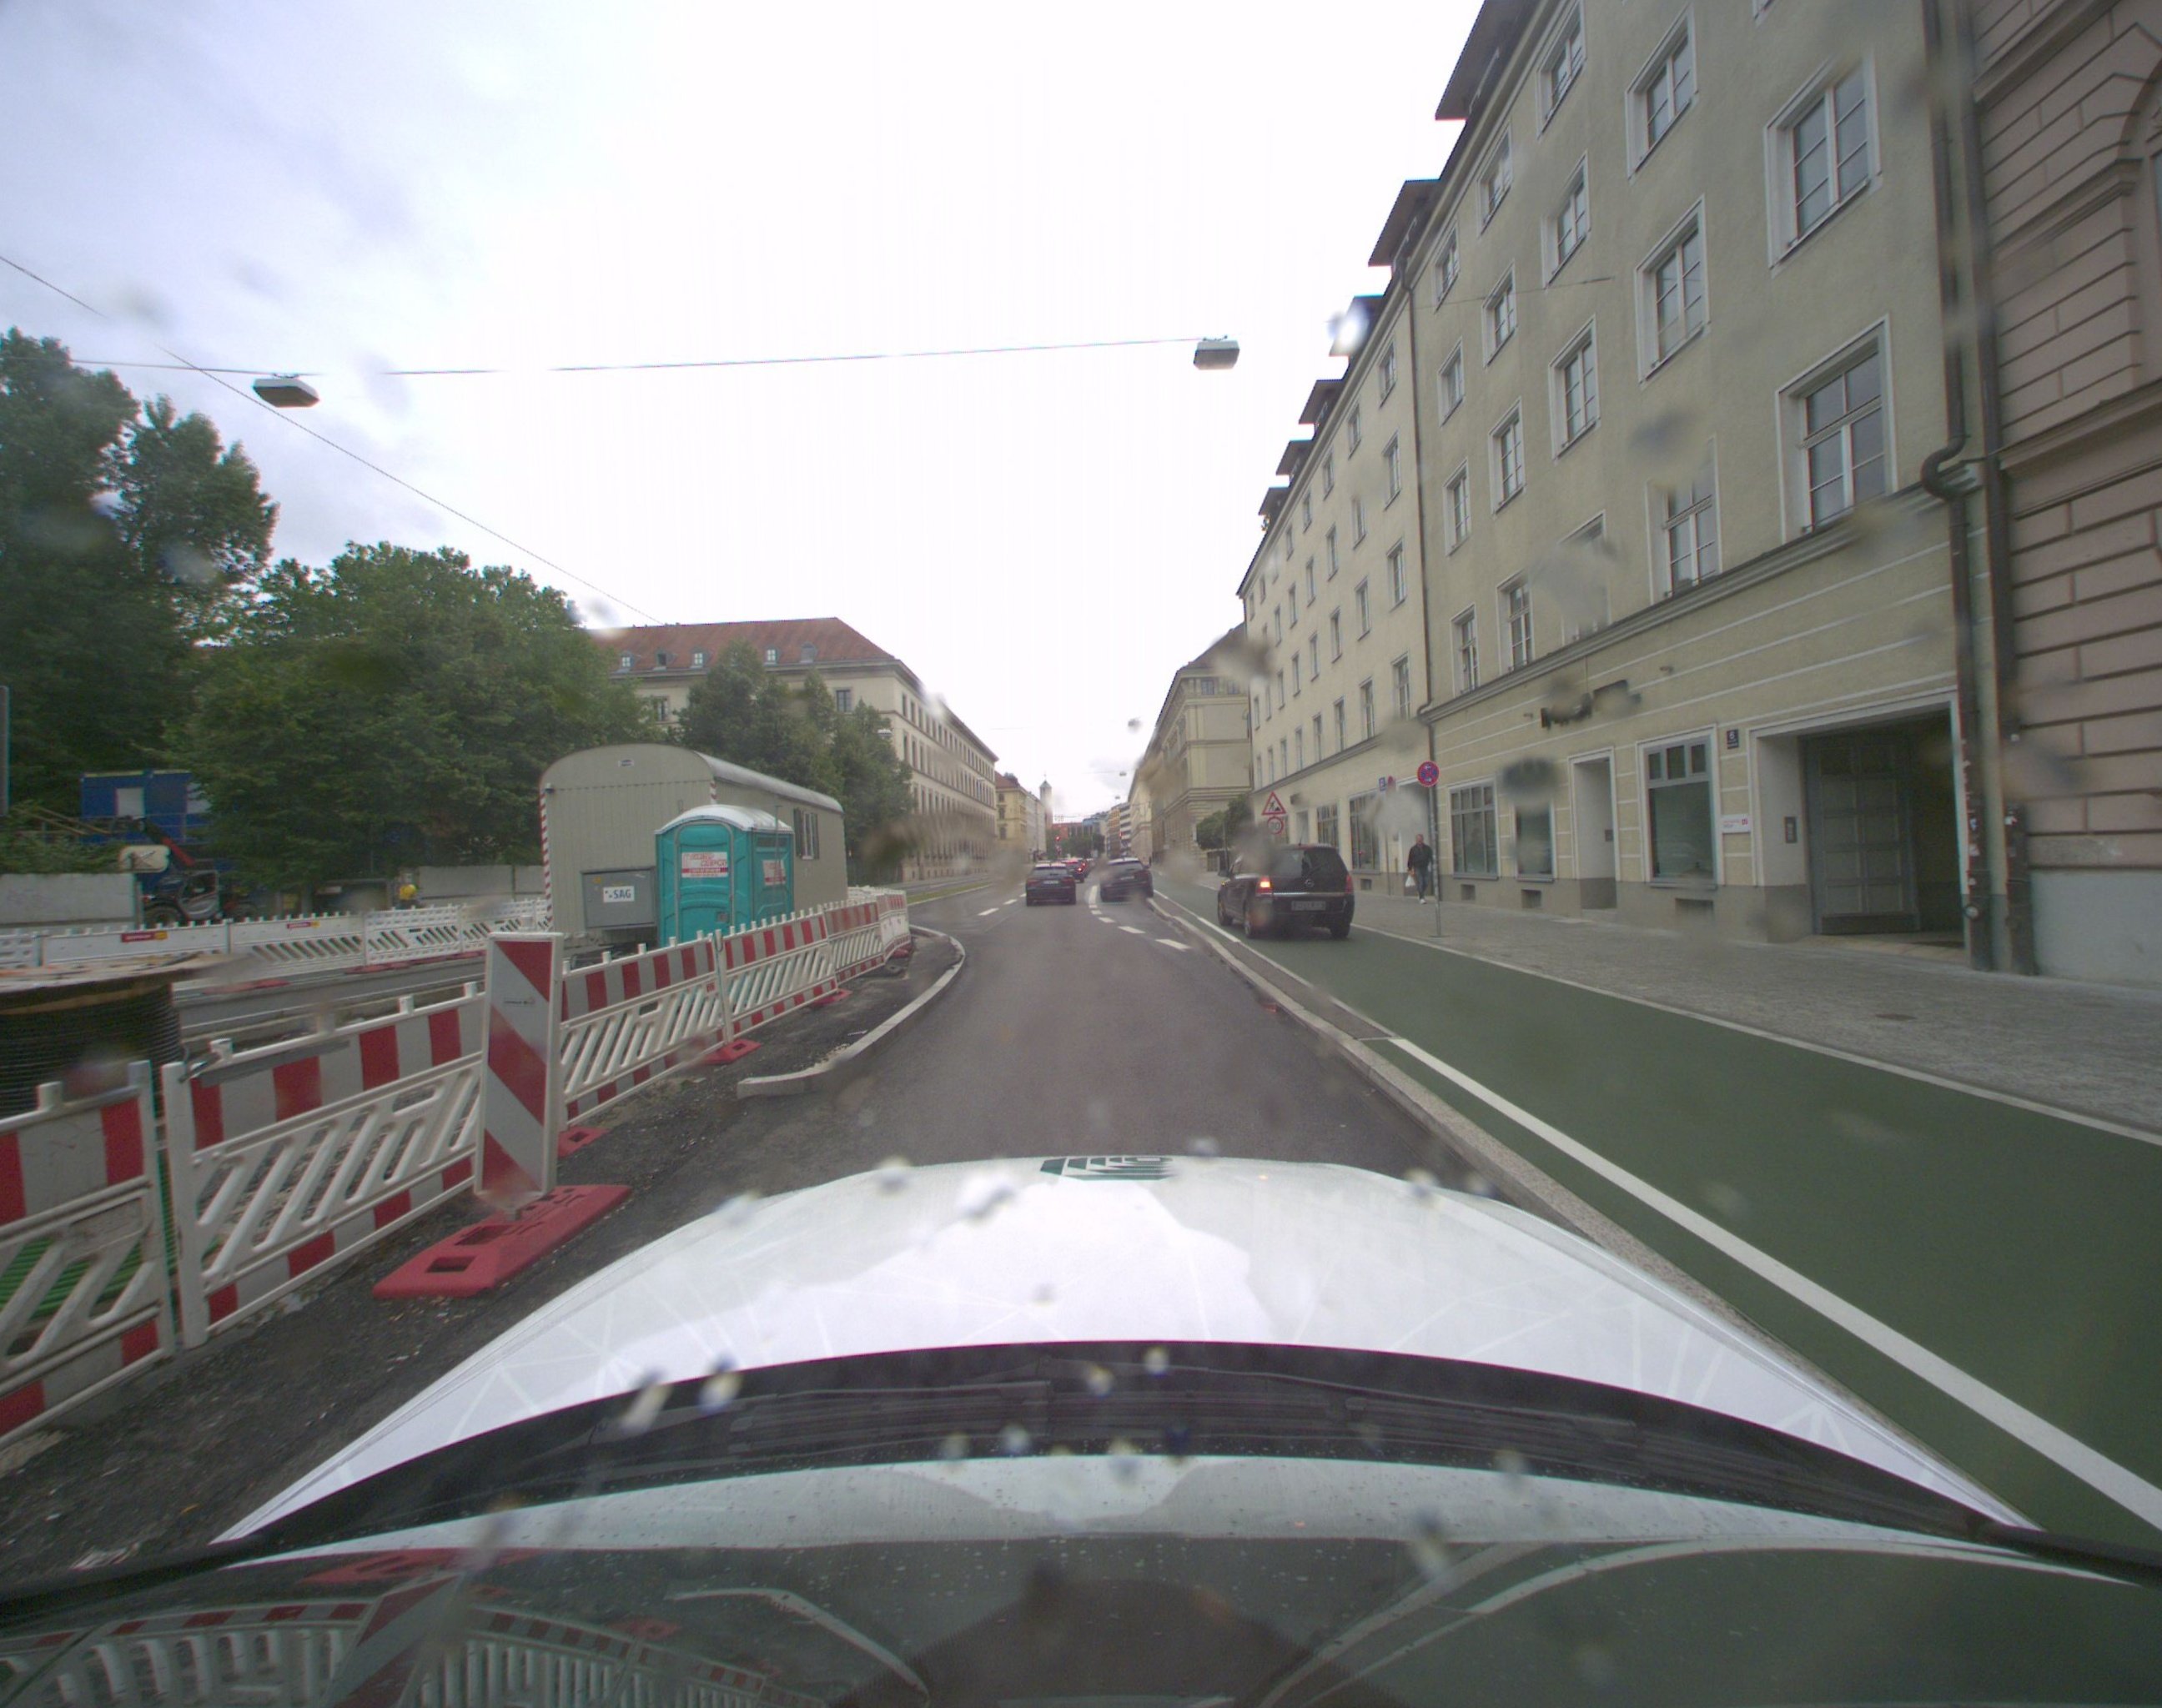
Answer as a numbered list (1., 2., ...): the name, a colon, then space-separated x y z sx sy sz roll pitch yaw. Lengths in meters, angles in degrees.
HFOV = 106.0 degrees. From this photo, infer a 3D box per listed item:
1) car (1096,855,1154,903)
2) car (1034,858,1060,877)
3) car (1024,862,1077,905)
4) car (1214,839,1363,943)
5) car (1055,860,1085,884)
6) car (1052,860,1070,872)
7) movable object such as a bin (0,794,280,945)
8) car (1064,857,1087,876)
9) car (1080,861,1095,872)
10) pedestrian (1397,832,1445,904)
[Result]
1. car: 1.570 0.879 30.425 1.803 1.480 4.461 -6 0 0
2. car: -3.042 1.214 73.607 1.986 1.627 4.002 -2 0 2
3. car: -1.037 0.996 28.986 1.725 1.403 3.998 -1 0 -1
4. car: 3.628 0.592 14.951 1.758 1.616 4.030 -1 0 1
5. car: -0.675 1.142 52.902 1.724 1.403 4.001 -1 0 1
6. car: -2.551 1.549 104.255 1.986 1.444 4.002 -2 0 2
7. movable object such as a bin: -27.900 0.424 24.472 2.457 3.962 5.066 -2 0 0
8. car: -0.406 1.015 66.361 1.724 1.461 4.001 -1 0 1
9. car: 0.920 1.723 114.369 1.986 1.444 4.002 -2 0 2
10. pedestrian: 8.554 0.354 20.509 0.790 1.745 0.834 -2 -1 2
